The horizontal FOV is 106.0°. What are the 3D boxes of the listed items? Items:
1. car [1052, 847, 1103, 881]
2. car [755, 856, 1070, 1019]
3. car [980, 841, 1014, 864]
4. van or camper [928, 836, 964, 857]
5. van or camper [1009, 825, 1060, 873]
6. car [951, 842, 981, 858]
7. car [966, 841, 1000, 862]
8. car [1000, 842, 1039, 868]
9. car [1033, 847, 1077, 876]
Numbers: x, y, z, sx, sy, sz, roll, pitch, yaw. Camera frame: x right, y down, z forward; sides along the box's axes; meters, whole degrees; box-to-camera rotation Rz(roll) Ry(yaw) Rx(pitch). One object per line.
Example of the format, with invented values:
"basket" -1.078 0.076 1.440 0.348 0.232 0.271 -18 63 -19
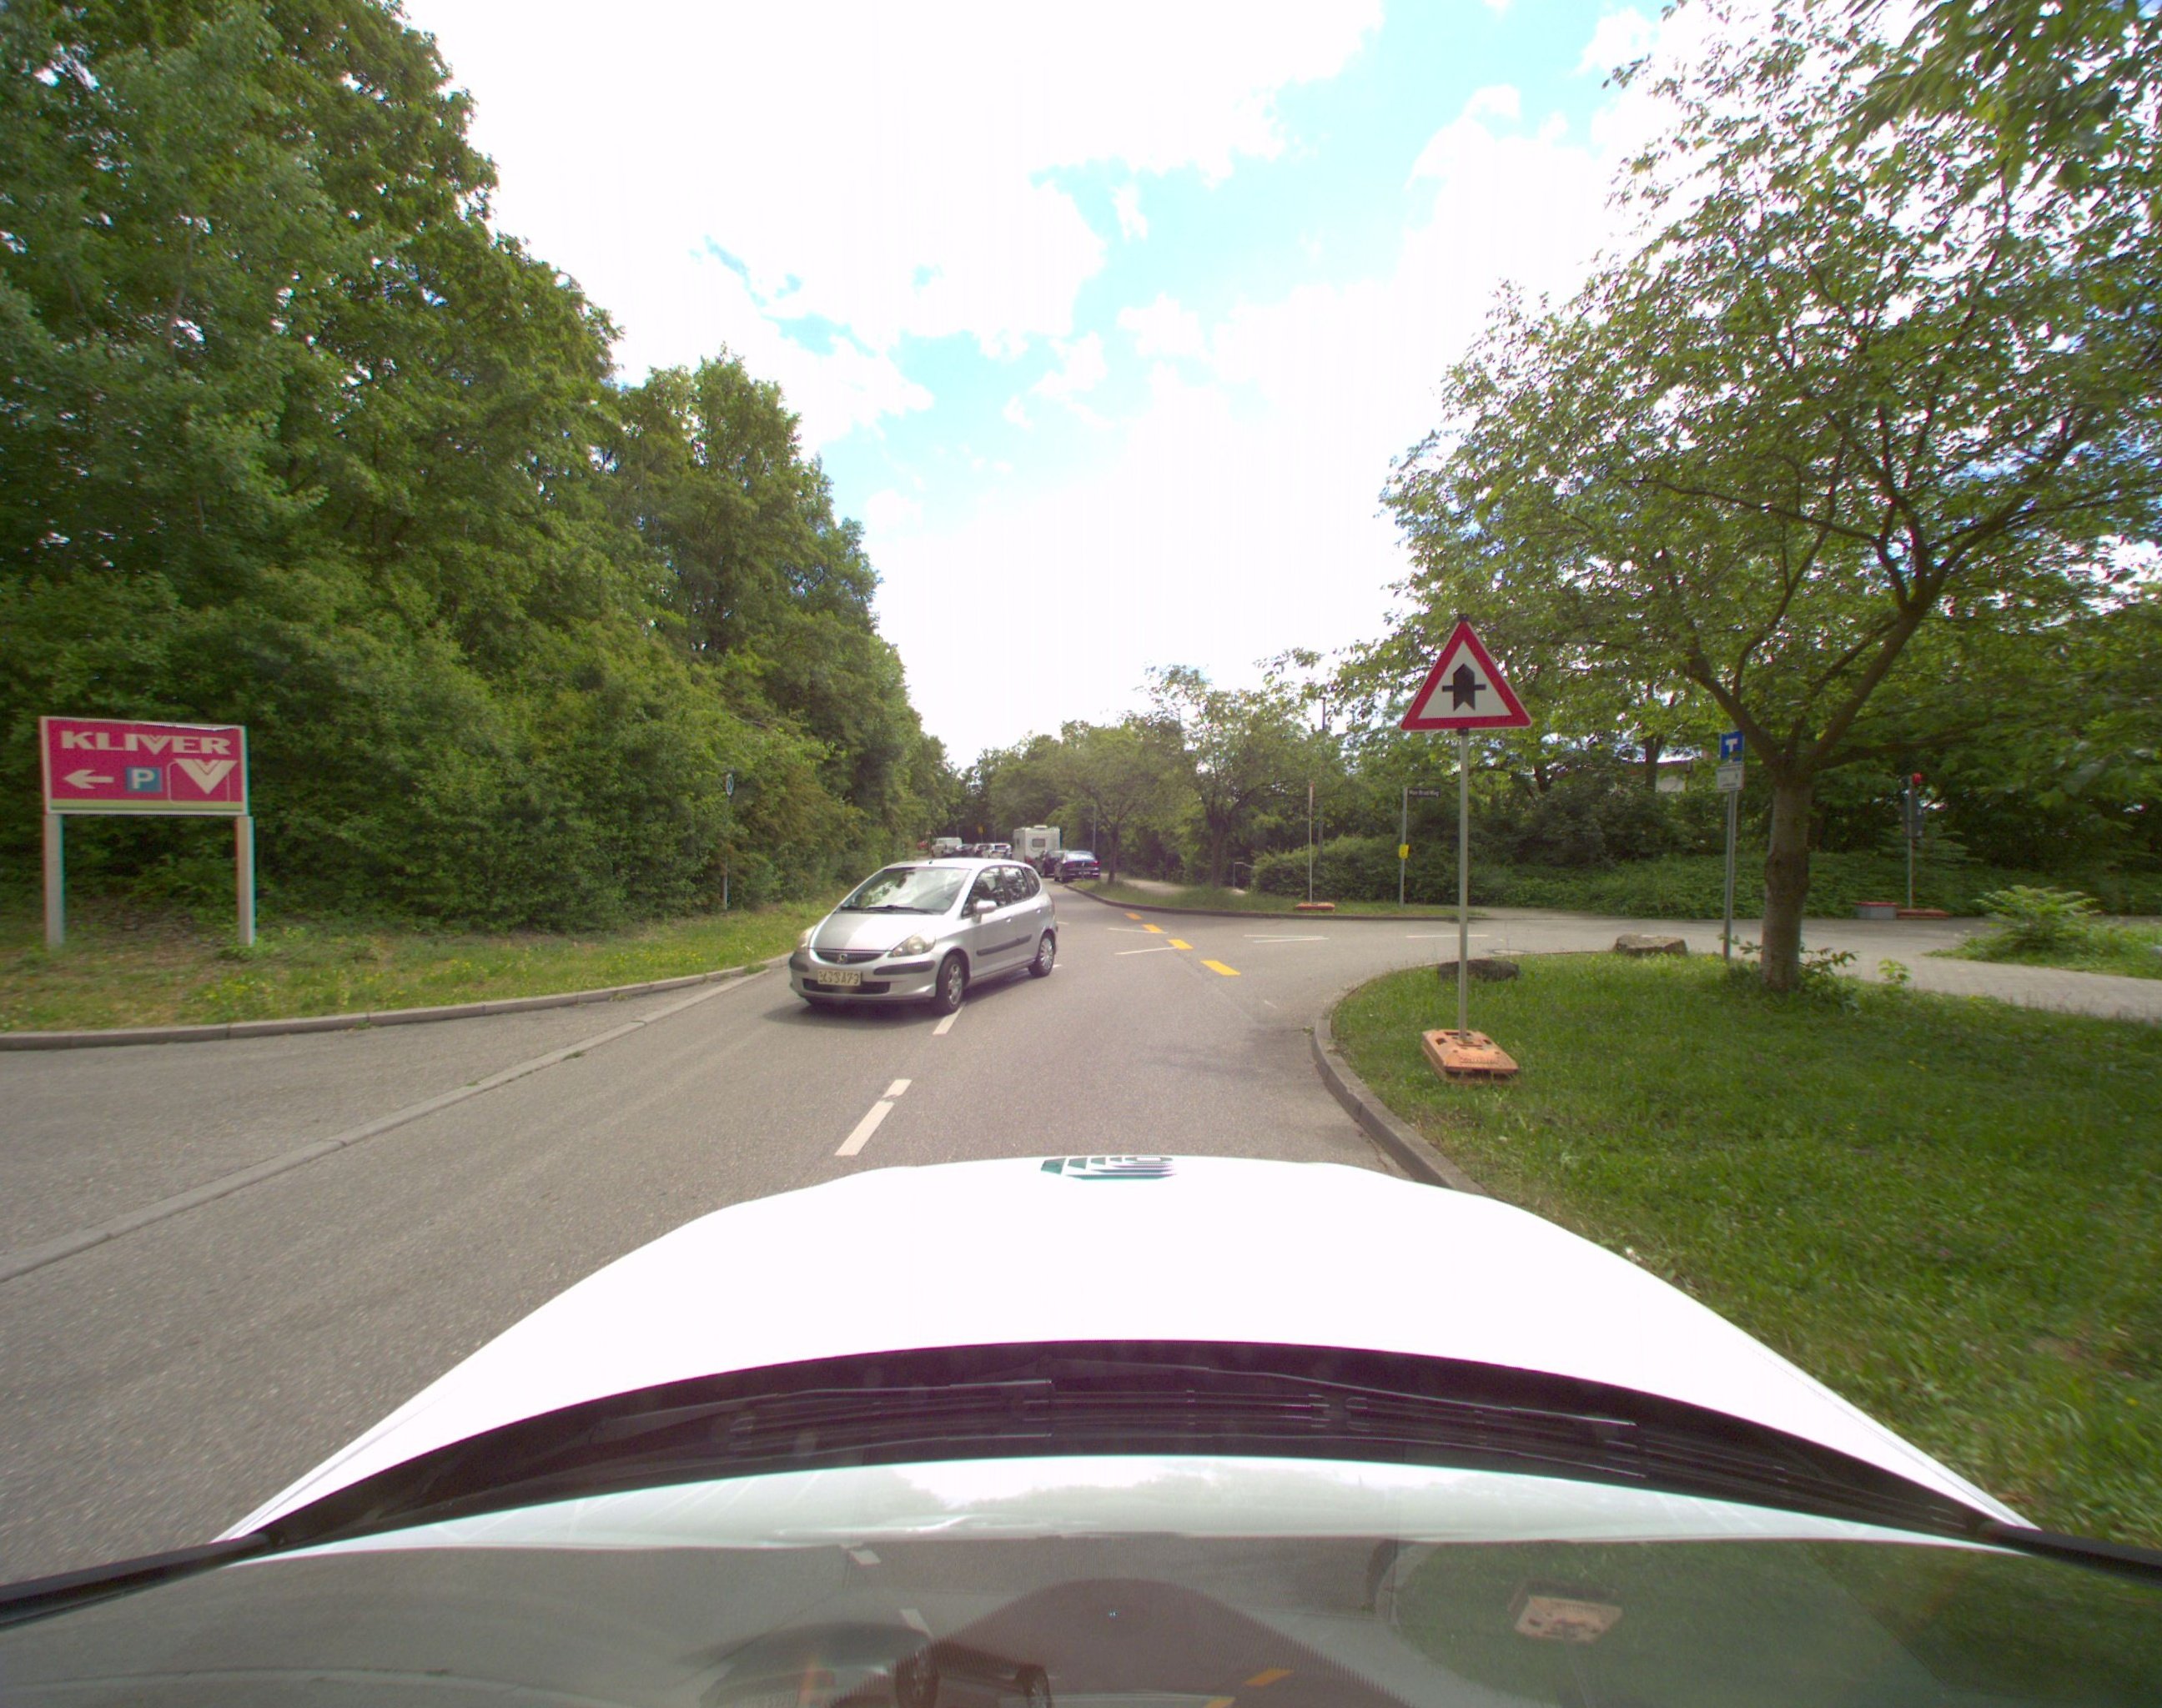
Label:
"car" -0.206 0.442 38.231 1.775 1.434 4.321 -1 1 -8
"car" -1.663 0.760 9.327 1.825 1.456 3.671 0 0 21
"car" -6.775 -0.139 65.416 1.876 1.689 4.553 0 1 -17
"van or camper" -13.695 -0.786 82.539 2.005 1.919 5.219 -2 3 -27
"van or camper" -3.085 -0.353 52.765 2.335 2.869 6.124 0 1 -13
"car" -10.971 -0.383 77.287 1.806 1.464 3.969 -1 1 -24
"car" -8.573 -0.249 71.030 2.000 1.626 4.250 -3 3 -20
"car" -4.462 0.033 58.624 1.716 1.591 3.976 -8 3 -17
"car" -1.482 0.408 45.307 1.731 1.519 3.872 -2 0 -13
